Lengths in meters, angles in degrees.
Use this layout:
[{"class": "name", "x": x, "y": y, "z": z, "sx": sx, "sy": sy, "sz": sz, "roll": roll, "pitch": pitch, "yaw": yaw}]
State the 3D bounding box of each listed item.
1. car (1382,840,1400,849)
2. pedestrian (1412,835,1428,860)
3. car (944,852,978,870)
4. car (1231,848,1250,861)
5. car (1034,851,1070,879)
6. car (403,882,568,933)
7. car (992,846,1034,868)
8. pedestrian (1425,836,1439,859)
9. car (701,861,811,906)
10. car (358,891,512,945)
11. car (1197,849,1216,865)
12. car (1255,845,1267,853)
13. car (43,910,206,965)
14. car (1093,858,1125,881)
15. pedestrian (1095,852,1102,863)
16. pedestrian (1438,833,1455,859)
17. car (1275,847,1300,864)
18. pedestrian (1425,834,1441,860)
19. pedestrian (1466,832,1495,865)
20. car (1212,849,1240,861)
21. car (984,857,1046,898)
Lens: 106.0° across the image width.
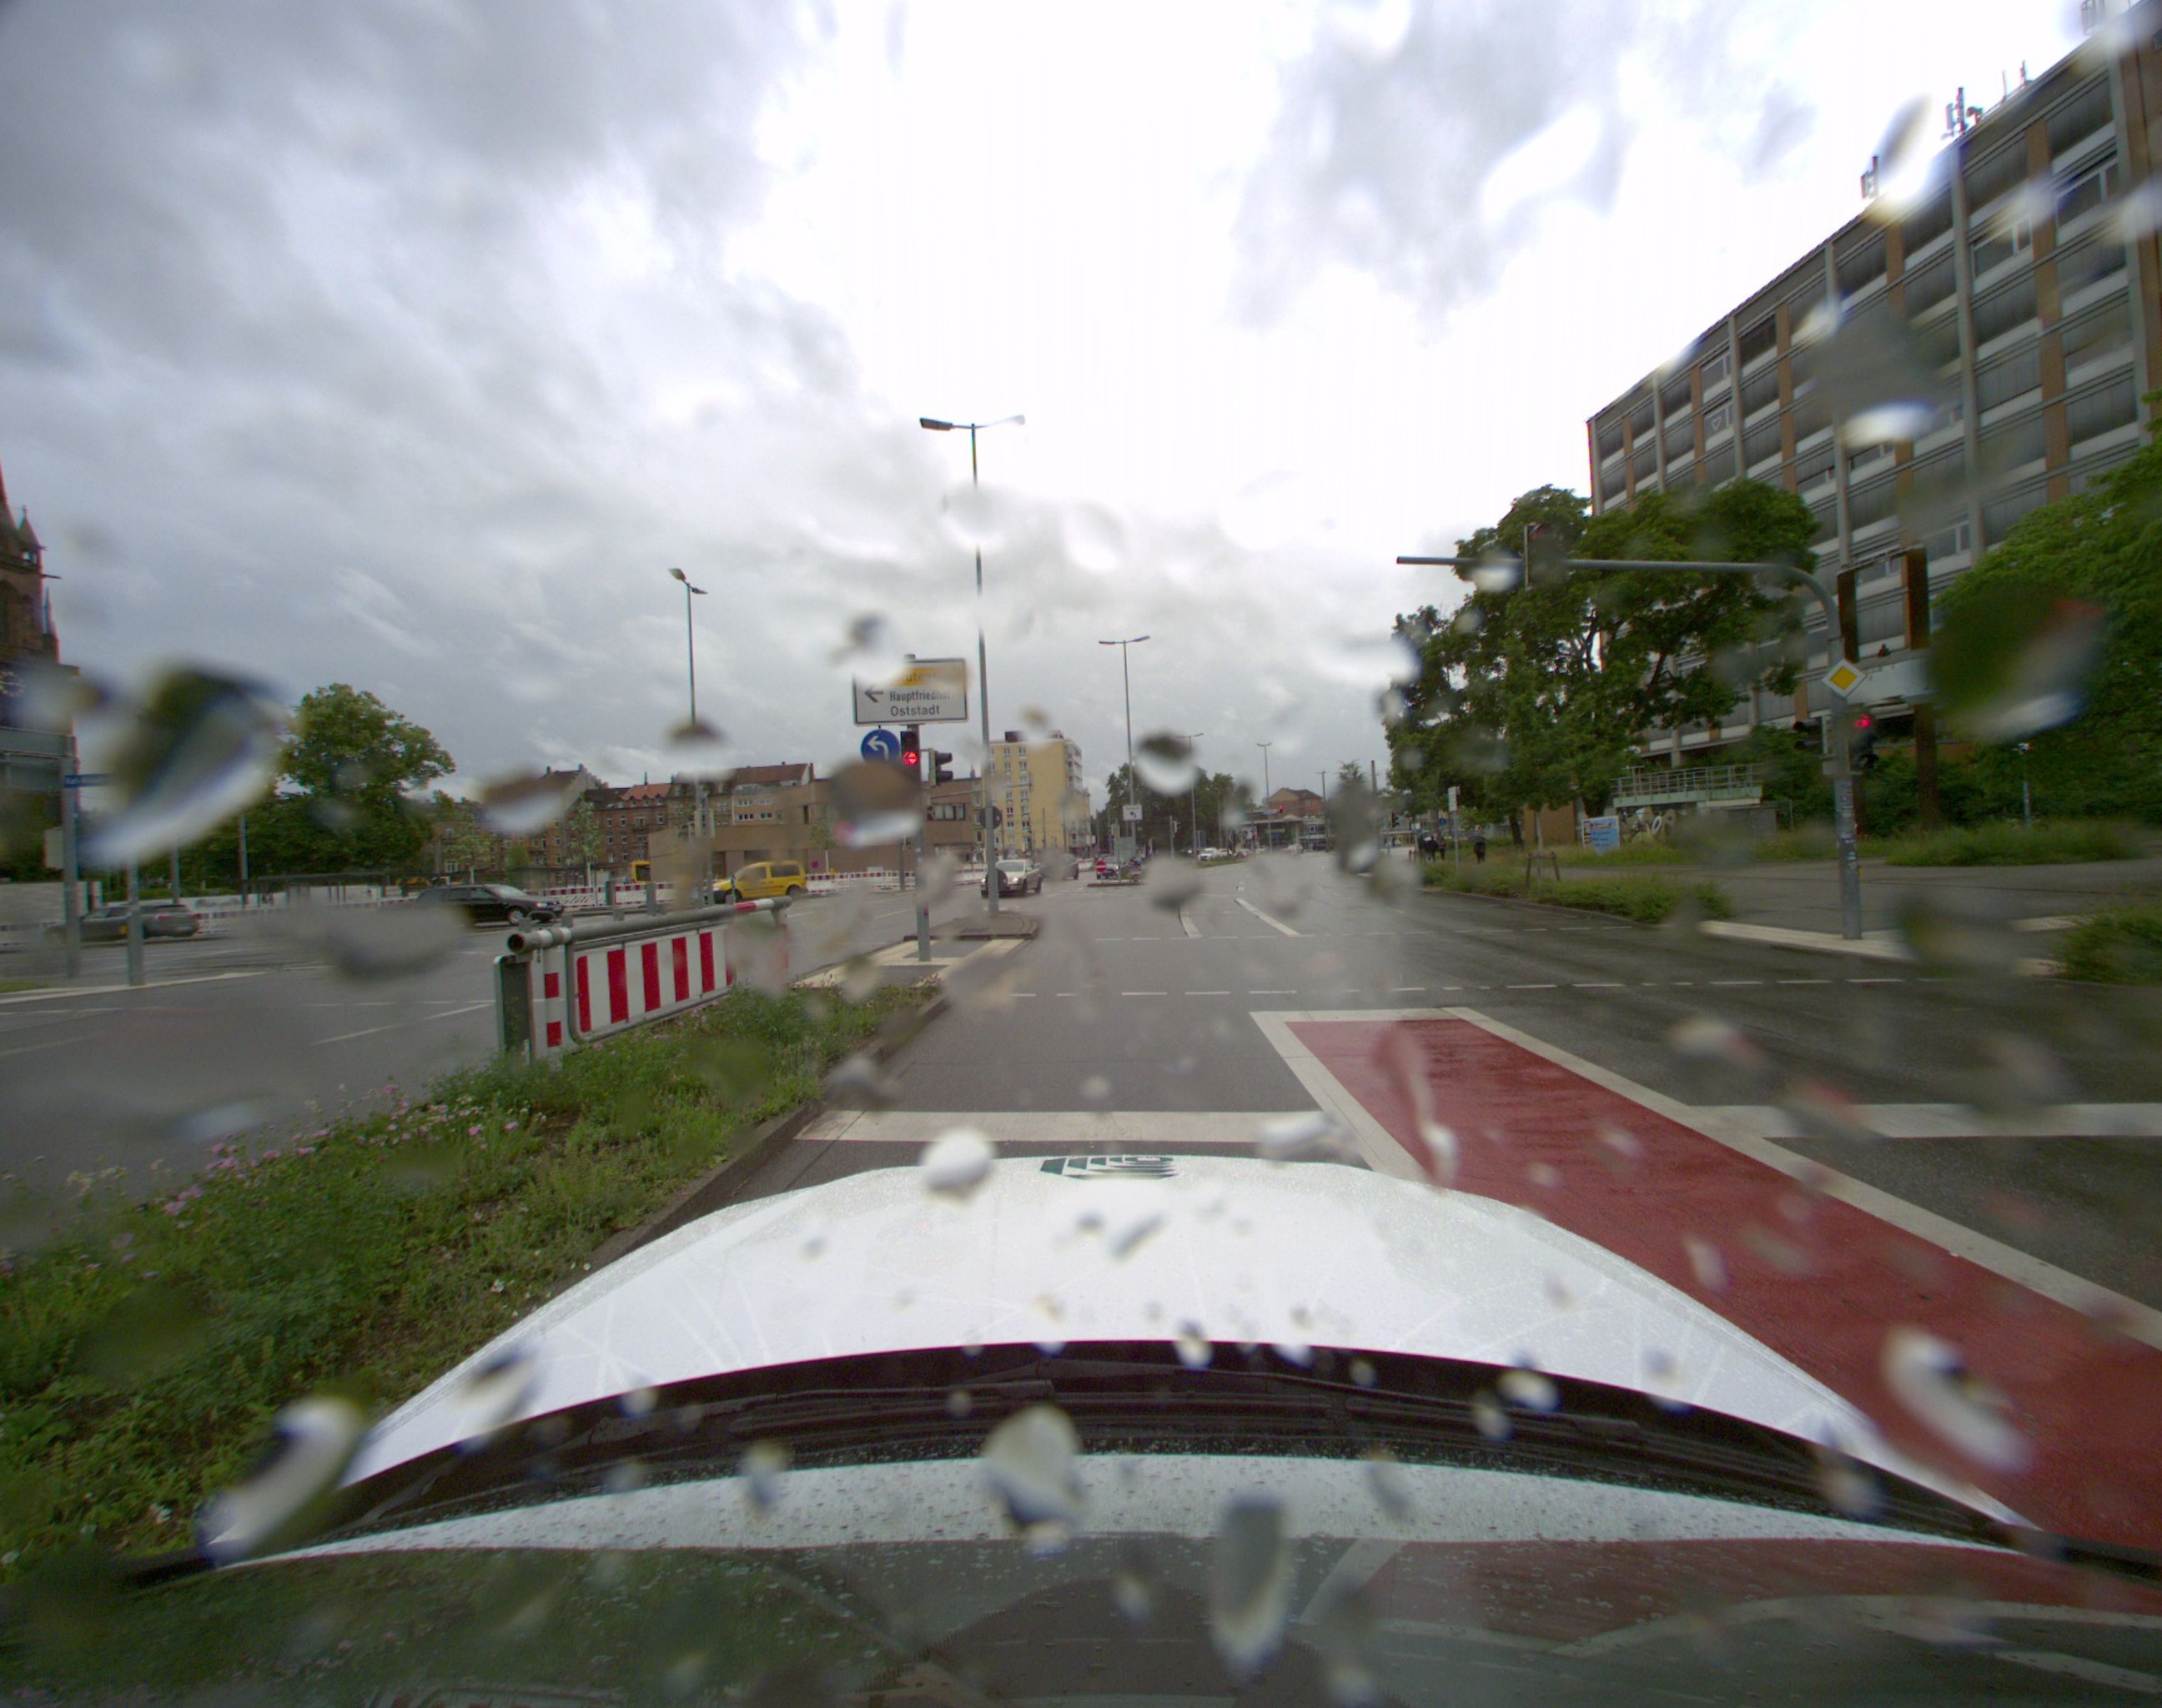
[{"class": "car", "x": 66.000, "y": -2.020, "z": 173.221, "sx": 4.182, "sy": 1.643, "sz": 1.774, "roll": -3, "pitch": 0, "yaw": -41}, {"class": "pedestrian", "x": 21.732, "y": -0.416, "z": 52.185, "sx": 0.749, "sy": 1.588, "sz": 0.939, "roll": -3, "pitch": 0, "yaw": 12}, {"class": "car", "x": -21.073, "y": 1.259, "z": 142.847, "sx": 5.326, "sy": 2.887, "sz": 2.342, "roll": -3, "pitch": 0, "yaw": 4}, {"class": "car", "x": 21.852, "y": 0.064, "z": 111.183, "sx": 1.774, "sy": 1.643, "sz": 4.068, "roll": -3, "pitch": 0, "yaw": 21}, {"class": "car", "x": -1.825, "y": 0.677, "z": 53.244, "sx": 1.764, "sy": 1.678, "sz": 4.774, "roll": -3, "pitch": 0, "yaw": 4}, {"class": "car", "x": -19.978, "y": 1.777, "z": 27.450, "sx": 4.185, "sy": 1.402, "sz": 1.615, "roll": -3, "pitch": 0, "yaw": -5}, {"class": "car", "x": -11.784, "y": 0.478, "z": 141.993, "sx": 6.711, "sy": 3.380, "sz": 2.813, "roll": -3, "pitch": 0, "yaw": 4}, {"class": "pedestrian", "x": 24.881, "y": -0.464, "z": 57.817, "sx": 0.698, "sy": 1.588, "sz": 0.940, "roll": -3, "pitch": 0, "yaw": 14}, {"class": "car", "x": -14.456, "y": 1.268, "z": 36.323, "sx": 4.176, "sy": 1.706, "sz": 1.690, "roll": -3, "pitch": 0, "yaw": -42}, {"class": "car", "x": -25.798, "y": 2.513, "z": 32.709, "sx": 4.466, "sy": 1.706, "sz": 1.697, "roll": -3, "pitch": 0, "yaw": -24}, {"class": "car", "x": 16.737, "y": 0.383, "z": 108.306, "sx": 1.776, "sy": 1.858, "sz": 4.178, "roll": -3, "pitch": 0, "yaw": 17}, {"class": "car", "x": 41.119, "y": -1.136, "z": 185.797, "sx": 1.773, "sy": 1.643, "sz": 4.184, "roll": -3, "pitch": 0, "yaw": 25}, {"class": "car", "x": -36.093, "y": 3.132, "z": 30.815, "sx": 3.803, "sy": 1.706, "sz": 1.707, "roll": -3, "pitch": 0, "yaw": -6}, {"class": "car", "x": 1.928, "y": 1.015, "z": 55.326, "sx": 1.763, "sy": 1.376, "sz": 4.128, "roll": -3, "pitch": 0, "yaw": 7}, {"class": "pedestrian", "x": 3.090, "y": 0.660, "z": 144.432, "sx": 1.089, "sy": 1.813, "sz": 1.118, "roll": -3, "pitch": 0, "yaw": -2}, {"class": "pedestrian", "x": 23.116, "y": -0.491, "z": 51.537, "sx": 0.698, "sy": 1.588, "sz": 0.939, "roll": -3, "pitch": 0, "yaw": 12}, {"class": "car", "x": 21.961, "y": 0.098, "z": 86.491, "sx": 1.774, "sy": 1.643, "sz": 4.183, "roll": -3, "pitch": 0, "yaw": 23}, {"class": "pedestrian", "x": 22.350, "y": -0.449, "z": 51.663, "sx": 0.698, "sy": 1.588, "sz": 0.939, "roll": -3, "pitch": 0, "yaw": 12}, {"class": "pedestrian", "x": 19.845, "y": -0.273, "z": 40.460, "sx": 1.015, "sy": 1.588, "sz": 0.939, "roll": -3, "pitch": 0, "yaw": 12}, {"class": "car", "x": 23.977, "y": 0.159, "z": 134.820, "sx": 4.407, "sy": 1.643, "sz": 1.780, "roll": -3, "pitch": 0, "yaw": -28}, {"class": "car", "x": -2.617, "y": 0.892, "z": 33.032, "sx": 1.685, "sy": 1.415, "sz": 4.190, "roll": -3, "pitch": 0, "yaw": 6}]
